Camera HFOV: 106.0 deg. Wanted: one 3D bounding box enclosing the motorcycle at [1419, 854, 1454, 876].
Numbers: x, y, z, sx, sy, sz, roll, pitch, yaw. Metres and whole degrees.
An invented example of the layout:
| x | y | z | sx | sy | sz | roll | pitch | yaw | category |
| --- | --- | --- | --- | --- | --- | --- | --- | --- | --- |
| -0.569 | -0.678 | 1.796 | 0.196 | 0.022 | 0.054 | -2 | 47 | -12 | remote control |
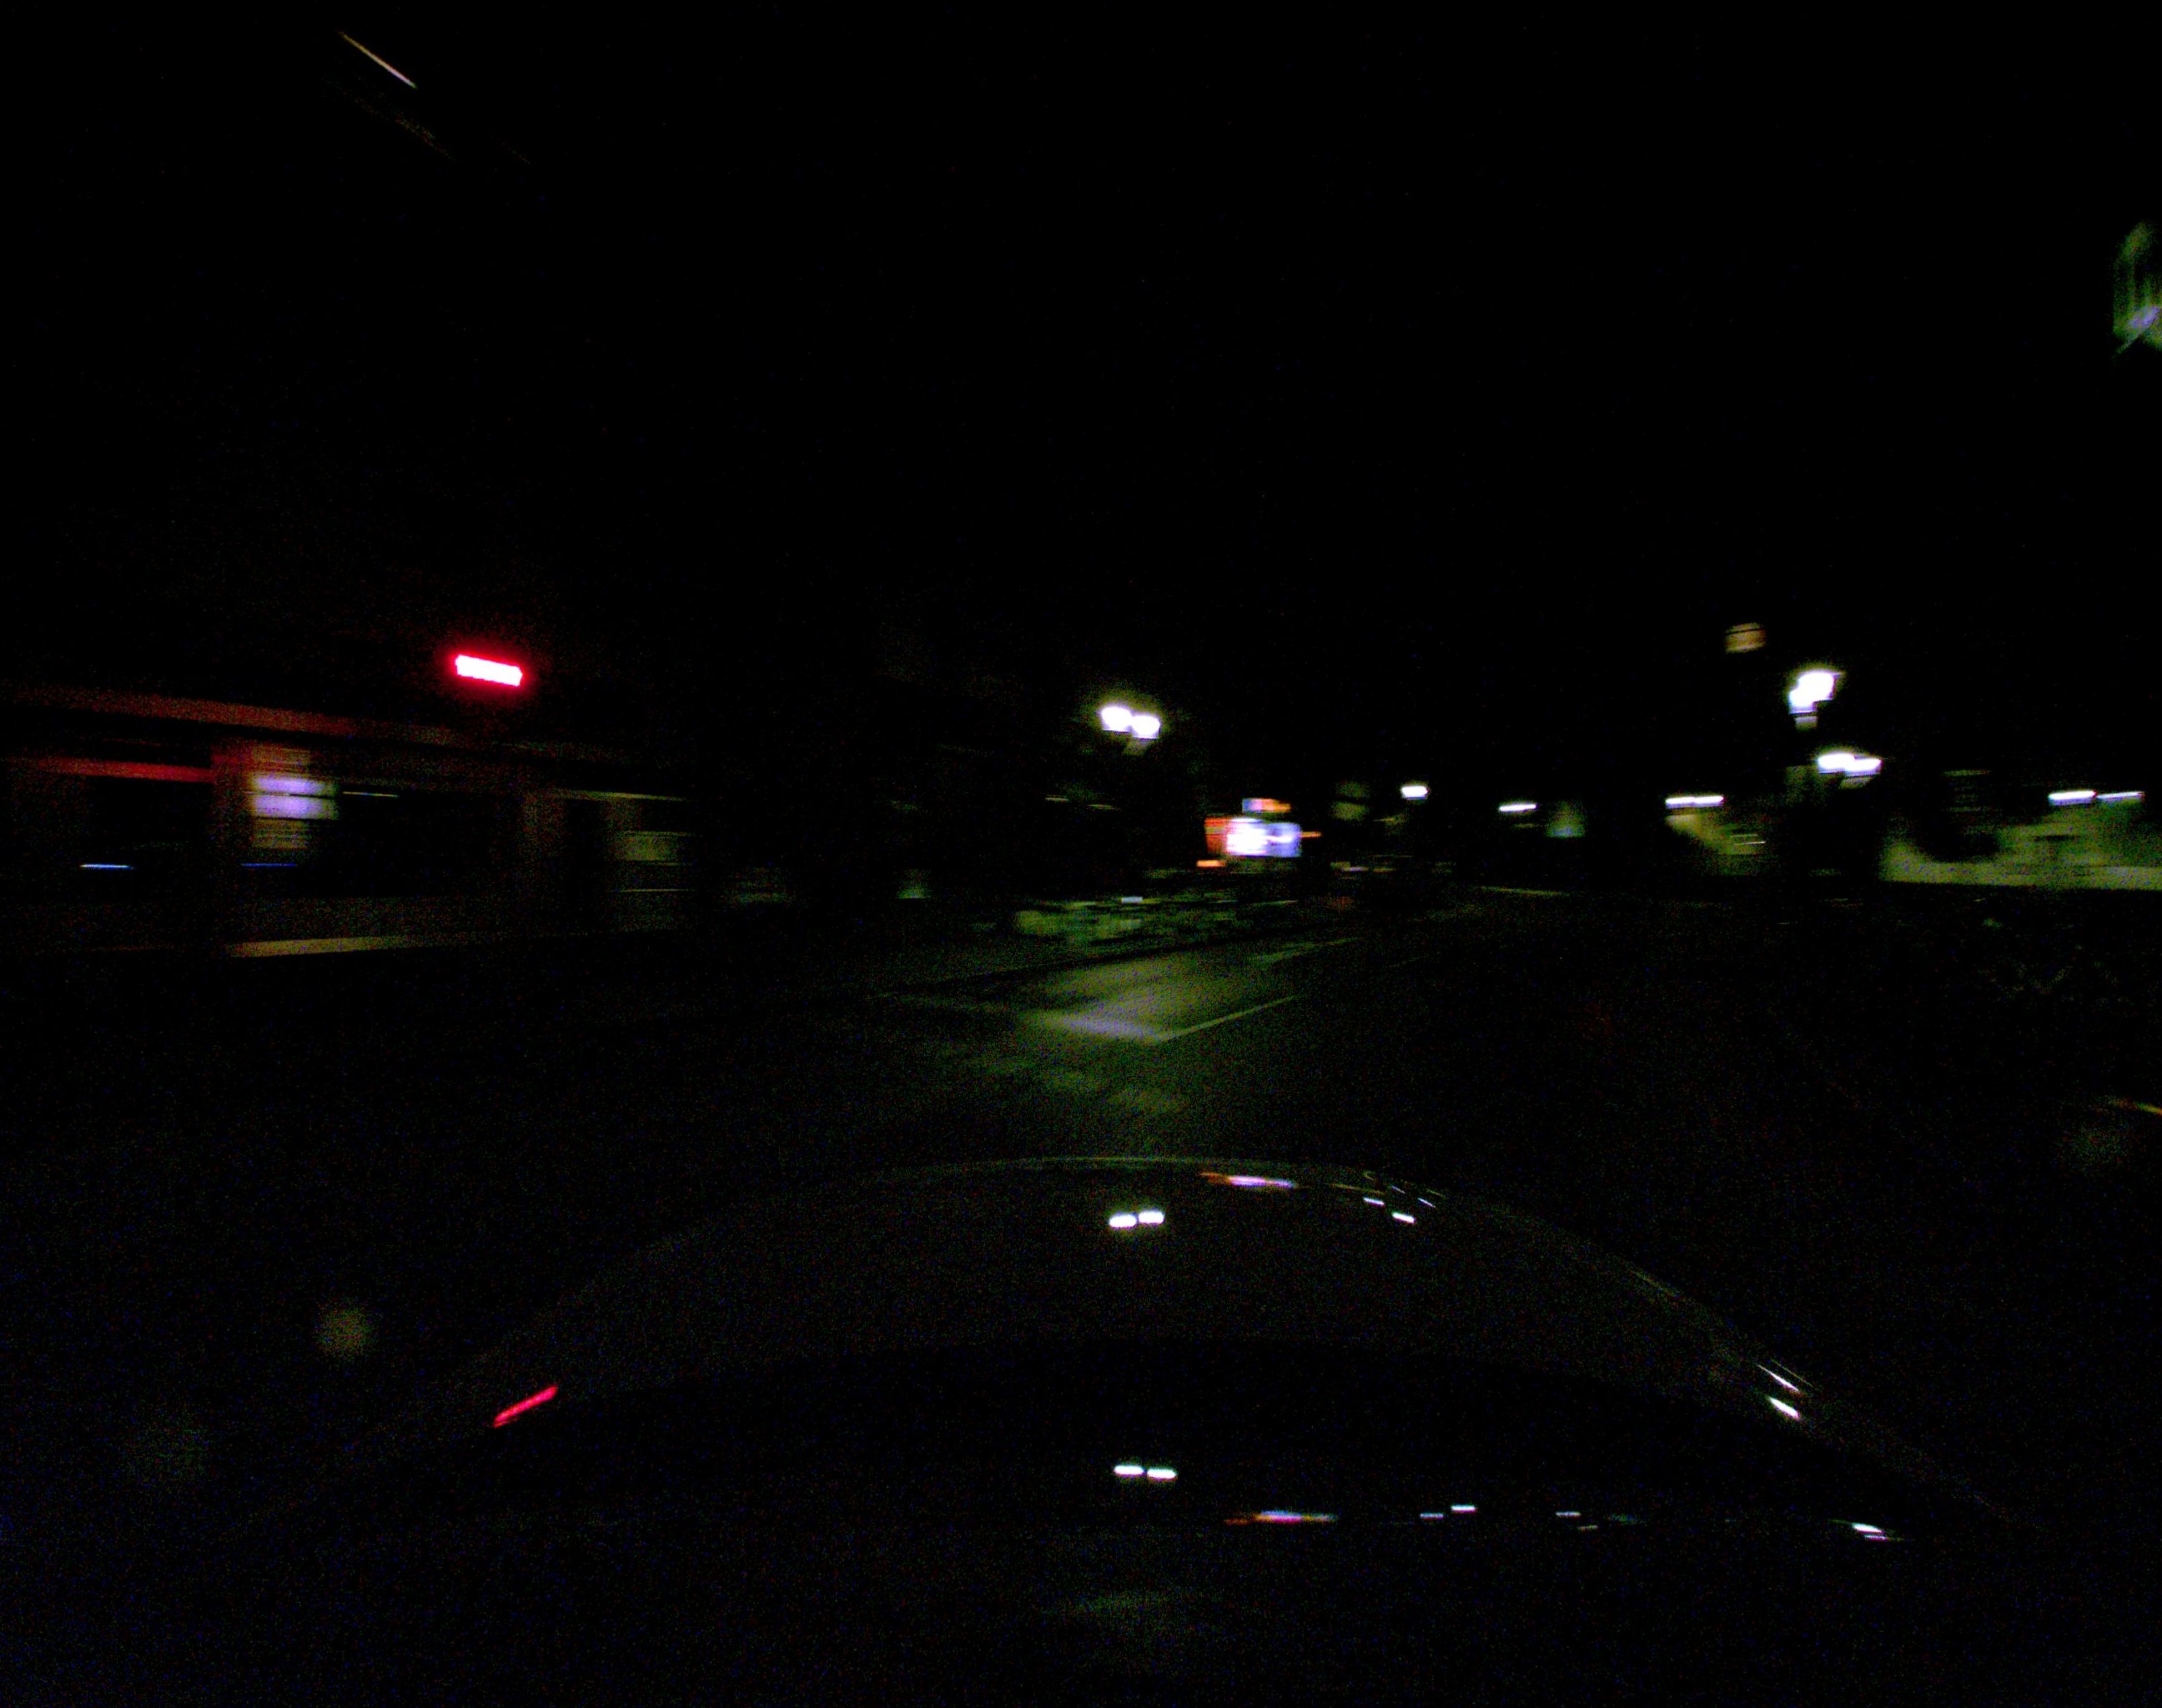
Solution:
| x | y | z | sx | sy | sz | roll | pitch | yaw | category |
| --- | --- | --- | --- | --- | --- | --- | --- | --- | --- |
| 23.423 | 0.720 | 53.654 | 2.057 | 1.406 | 0.919 | 0 | 1 | -17 | motorcycle |

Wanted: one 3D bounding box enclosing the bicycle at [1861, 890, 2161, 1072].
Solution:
| x | y | z | sx | sy | sz | roll | pitch | yaw | category |
| --- | --- | --- | --- | --- | --- | --- | --- | --- | --- |
| 7.115 | 0.893 | 6.154 | 1.639 | 1.141 | 0.833 | 2 | 0 | 36 | bicycle |

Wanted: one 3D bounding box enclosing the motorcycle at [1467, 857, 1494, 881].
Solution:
| x | y | z | sx | sy | sz | roll | pitch | yaw | category |
| --- | --- | --- | --- | --- | --- | --- | --- | --- | --- |
| 23.765 | 0.894 | 48.390 | 1.955 | 1.353 | 0.754 | 0 | 1 | -43 | motorcycle |

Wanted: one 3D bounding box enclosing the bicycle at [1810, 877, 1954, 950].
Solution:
| x | y | z | sx | sy | sz | roll | pitch | yaw | category |
| --- | --- | --- | --- | --- | --- | --- | --- | --- | --- |
| 14.362 | 1.040 | 14.671 | 1.755 | 1.151 | 0.618 | 2 | 0 | 35 | bicycle |

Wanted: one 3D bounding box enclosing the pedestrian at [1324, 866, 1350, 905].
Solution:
| x | y | z | sx | sy | sz | roll | pitch | yaw | category |
| --- | --- | --- | --- | --- | --- | --- | --- | --- | --- |
| 7.827 | 0.955 | 24.915 | 0.569 | 1.164 | 0.682 | 1 | 0 | 33 | pedestrian |

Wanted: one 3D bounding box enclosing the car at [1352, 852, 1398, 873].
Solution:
| x | y | z | sx | sy | sz | roll | pitch | yaw | category |
| --- | --- | --- | --- | --- | --- | --- | --- | --- | --- |
| 22.181 | 0.603 | 61.523 | 1.733 | 1.454 | 3.994 | 1 | 1 | -5 | car |

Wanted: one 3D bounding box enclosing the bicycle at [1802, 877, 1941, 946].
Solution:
| x | y | z | sx | sy | sz | roll | pitch | yaw | category |
| --- | --- | --- | --- | --- | --- | --- | --- | --- | --- |
| 14.812 | 1.048 | 15.332 | 1.765 | 1.151 | 0.765 | 2 | 0 | 35 | bicycle |

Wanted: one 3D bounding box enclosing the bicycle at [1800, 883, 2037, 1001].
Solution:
| x | y | z | sx | sy | sz | roll | pitch | yaw | category |
| --- | --- | --- | --- | --- | --- | --- | --- | --- | --- |
| 9.394 | 0.942 | 9.243 | 1.771 | 1.134 | 0.633 | 2 | 0 | 35 | bicycle |

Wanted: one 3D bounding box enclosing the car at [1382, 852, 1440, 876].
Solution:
| x | y | z | sx | sy | sz | roll | pitch | yaw | category |
| --- | --- | --- | --- | --- | --- | --- | --- | --- | --- |
| 22.775 | 0.681 | 56.441 | 1.731 | 1.501 | 4.455 | 1 | 1 | -8 | car |

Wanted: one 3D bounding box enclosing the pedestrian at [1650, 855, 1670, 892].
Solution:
| x | y | z | sx | sy | sz | roll | pitch | yaw | category |
| --- | --- | --- | --- | --- | --- | --- | --- | --- | --- |
| 27.302 | 0.911 | 38.383 | 0.476 | 1.709 | 0.570 | 1 | 0 | -6 | pedestrian |

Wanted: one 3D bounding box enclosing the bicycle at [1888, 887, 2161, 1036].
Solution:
| x | y | z | sx | sy | sz | roll | pitch | yaw | category |
| --- | --- | --- | --- | --- | --- | --- | --- | --- | --- |
| 8.672 | 0.925 | 7.434 | 1.752 | 1.141 | 0.691 | 2 | 0 | 36 | bicycle |

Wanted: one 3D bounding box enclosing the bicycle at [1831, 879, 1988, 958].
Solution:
| x | y | z | sx | sy | sz | roll | pitch | yaw | category |
| --- | --- | --- | --- | --- | --- | --- | --- | --- | --- |
| 13.588 | 1.024 | 13.434 | 1.755 | 1.151 | 0.586 | 2 | 0 | 41 | bicycle |

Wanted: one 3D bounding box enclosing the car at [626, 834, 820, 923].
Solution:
| x | y | z | sx | sy | sz | roll | pitch | yaw | category |
| --- | --- | --- | --- | --- | --- | --- | --- | --- | --- |
| -7.161 | 0.403 | 16.174 | 3.949 | 1.526 | 1.831 | 2 | 1 | 38 | car |

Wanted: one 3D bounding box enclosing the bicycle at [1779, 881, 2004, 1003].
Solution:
| x | y | z | sx | sy | sz | roll | pitch | yaw | category |
| --- | --- | --- | --- | --- | --- | --- | --- | --- | --- |
| 8.712 | 0.902 | 8.858 | 1.638 | 1.134 | 0.646 | 2 | 0 | 36 | bicycle |

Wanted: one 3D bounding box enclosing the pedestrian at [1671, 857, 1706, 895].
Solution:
| x | y | z | sx | sy | sz | roll | pitch | yaw | category |
| --- | --- | --- | --- | --- | --- | --- | --- | --- | --- |
| 26.585 | 0.963 | 35.658 | 0.812 | 1.631 | 0.957 | 2 | 0 | -30 | pedestrian |

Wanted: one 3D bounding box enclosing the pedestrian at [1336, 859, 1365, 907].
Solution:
| x | y | z | sx | sy | sz | roll | pitch | yaw | category |
| --- | --- | --- | --- | --- | --- | --- | --- | --- | --- |
| 7.945 | 0.841 | 23.990 | 0.669 | 1.378 | 0.580 | 1 | 0 | 33 | pedestrian |

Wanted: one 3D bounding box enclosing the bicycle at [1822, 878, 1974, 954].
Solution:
| x | y | z | sx | sy | sz | roll | pitch | yaw | category |
| --- | --- | --- | --- | --- | --- | --- | --- | --- | --- |
| 13.993 | 1.027 | 14.012 | 1.755 | 1.151 | 0.586 | 2 | 0 | 35 | bicycle |

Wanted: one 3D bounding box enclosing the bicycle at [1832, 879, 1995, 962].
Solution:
| x | y | z | sx | sy | sz | roll | pitch | yaw | category |
| --- | --- | --- | --- | --- | --- | --- | --- | --- | --- |
| 13.154 | 1.024 | 12.945 | 1.755 | 1.151 | 0.586 | 2 | 0 | 41 | bicycle |

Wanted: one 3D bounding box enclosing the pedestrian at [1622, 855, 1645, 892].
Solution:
| x | y | z | sx | sy | sz | roll | pitch | yaw | category |
| --- | --- | --- | --- | --- | --- | --- | --- | --- | --- |
| 25.735 | 0.896 | 37.949 | 0.506 | 1.709 | 0.703 | 1 | 0 | -6 | pedestrian |

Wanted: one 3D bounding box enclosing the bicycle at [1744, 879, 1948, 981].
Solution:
| x | y | z | sx | sy | sz | roll | pitch | yaw | category |
| --- | --- | --- | --- | --- | --- | --- | --- | --- | --- |
| 9.920 | 0.943 | 10.671 | 1.847 | 1.134 | 0.730 | 2 | 0 | 35 | bicycle |
